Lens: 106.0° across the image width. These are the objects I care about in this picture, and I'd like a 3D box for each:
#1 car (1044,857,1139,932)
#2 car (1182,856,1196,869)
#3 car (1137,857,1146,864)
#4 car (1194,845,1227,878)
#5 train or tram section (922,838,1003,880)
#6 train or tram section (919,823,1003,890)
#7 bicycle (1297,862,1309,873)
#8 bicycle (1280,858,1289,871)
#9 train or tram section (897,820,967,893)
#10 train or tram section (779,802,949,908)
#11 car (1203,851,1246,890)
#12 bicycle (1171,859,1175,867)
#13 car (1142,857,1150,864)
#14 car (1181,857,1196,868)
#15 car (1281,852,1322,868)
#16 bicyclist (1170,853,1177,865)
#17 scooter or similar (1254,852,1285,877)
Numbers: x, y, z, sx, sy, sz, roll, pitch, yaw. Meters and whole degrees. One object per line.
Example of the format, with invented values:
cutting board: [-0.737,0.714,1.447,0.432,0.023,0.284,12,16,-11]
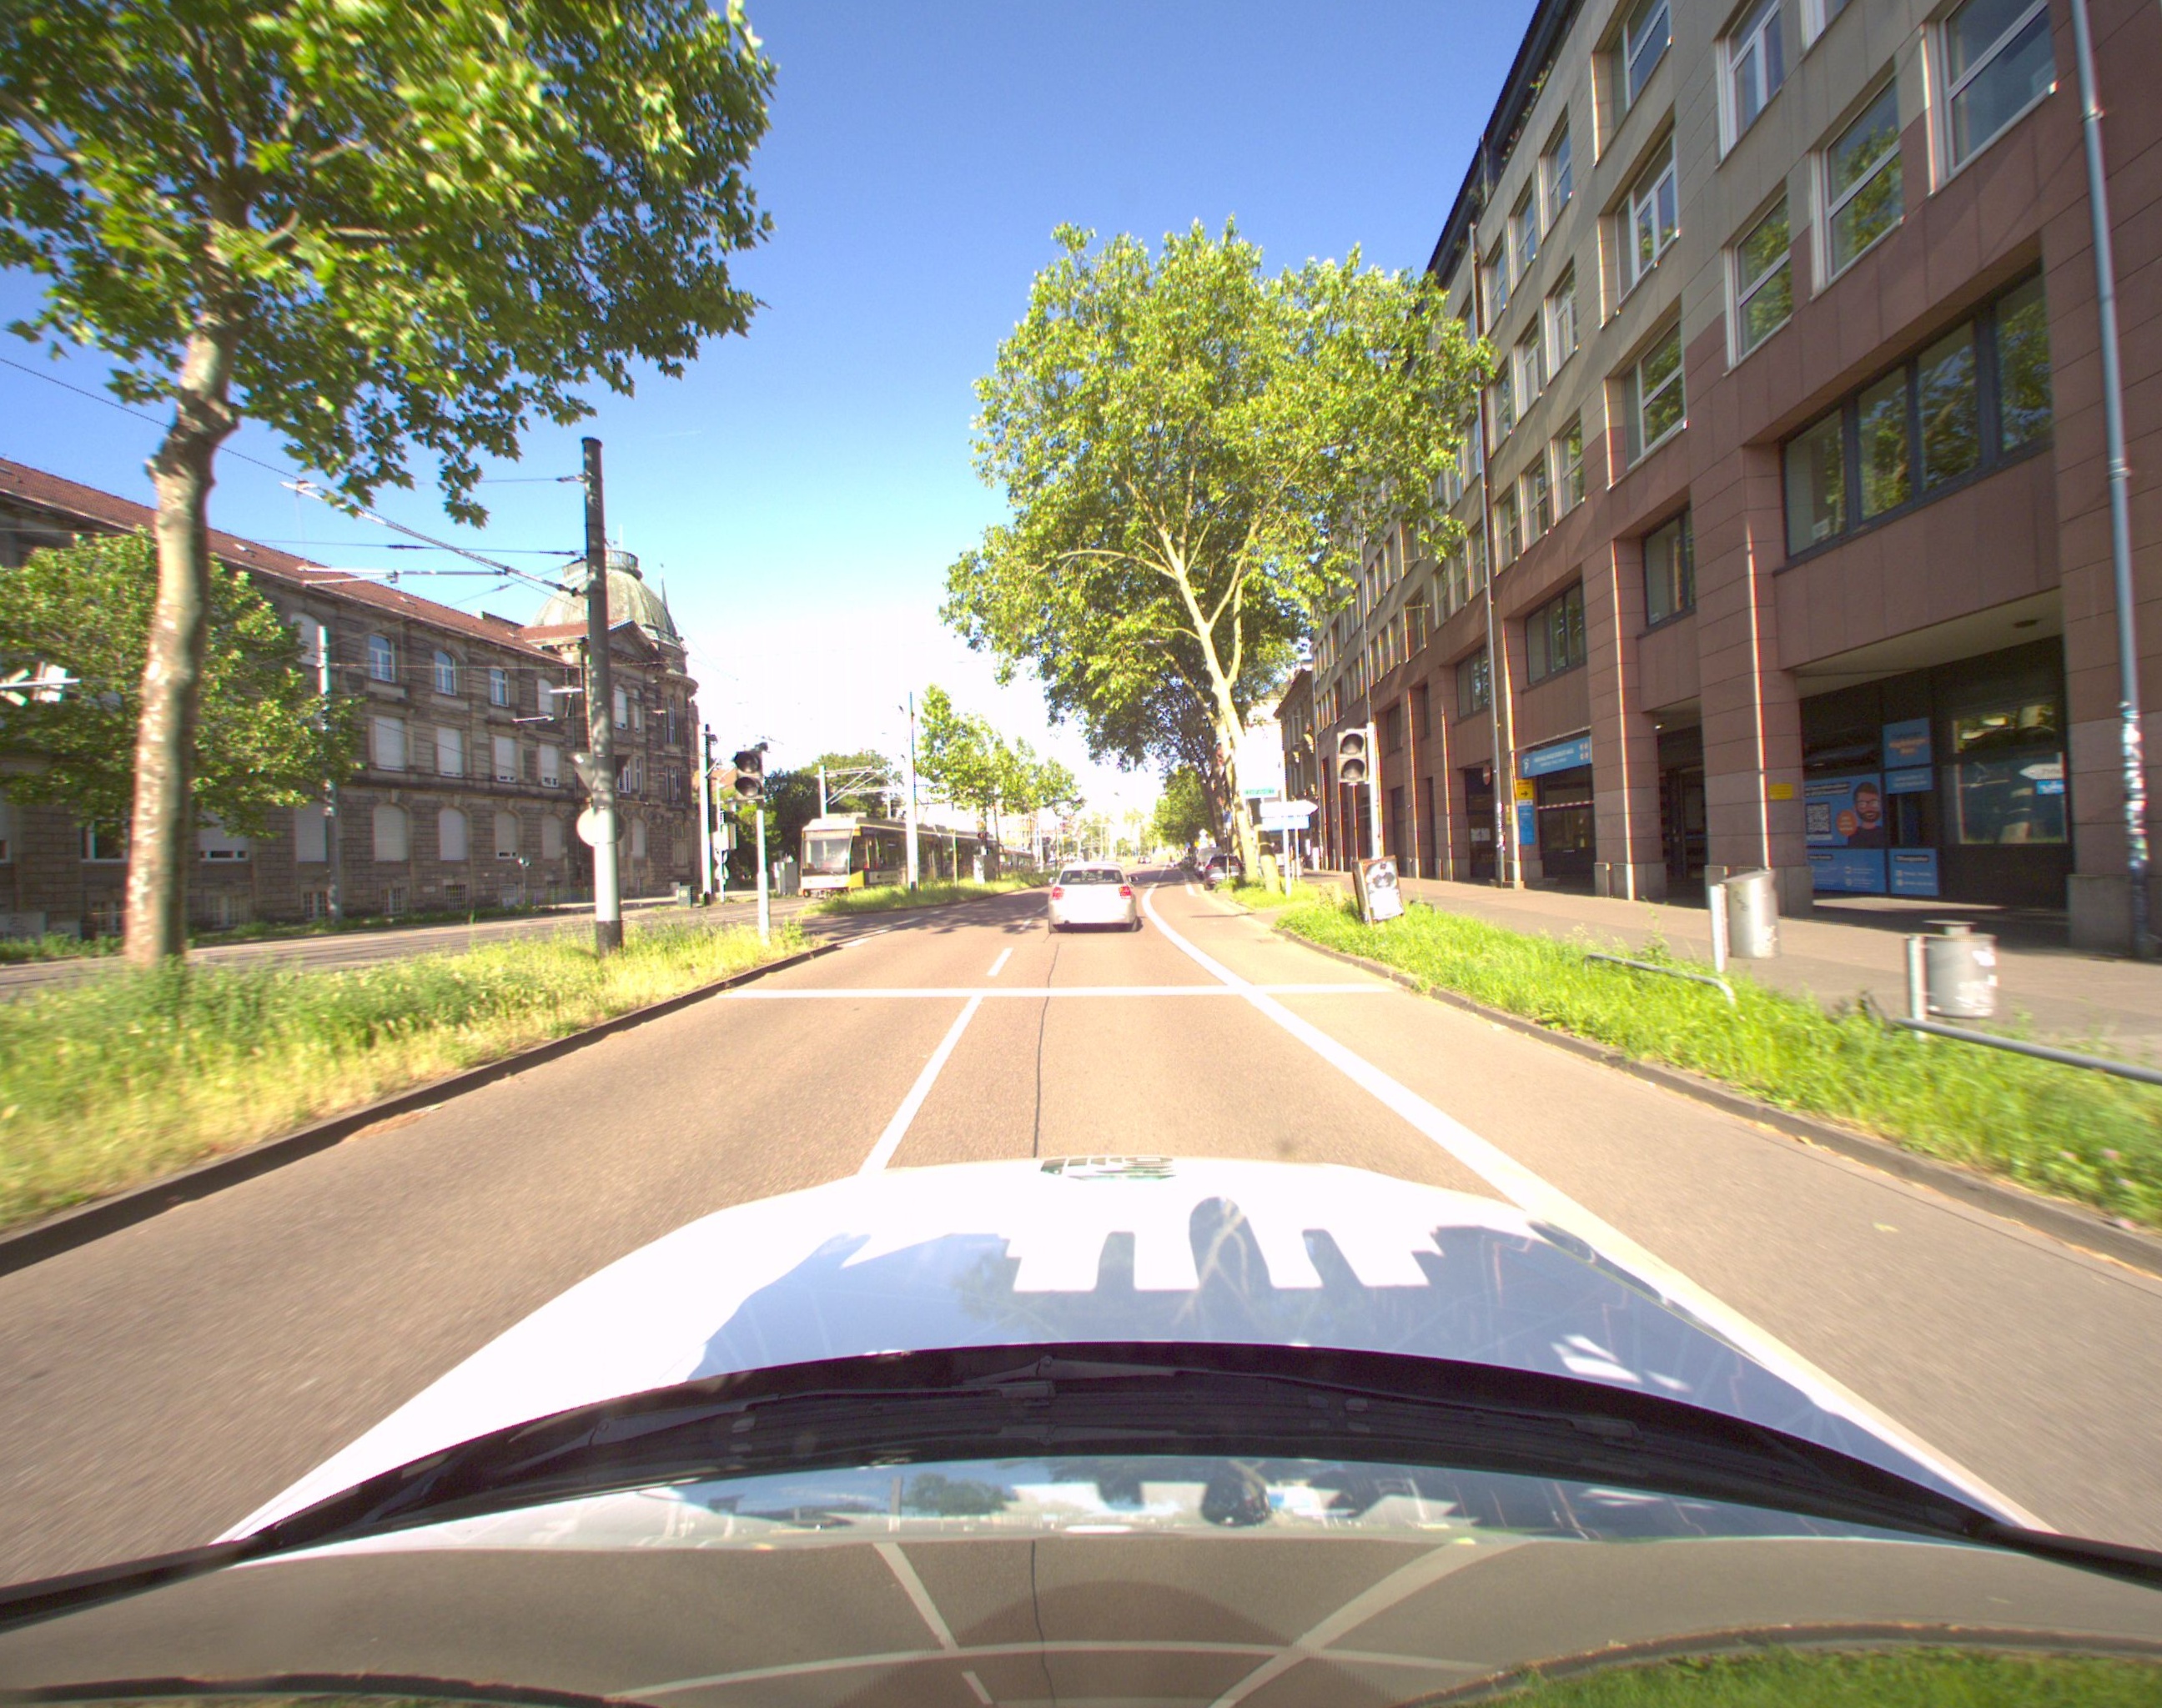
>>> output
car: [0.239,0.798,17.455,1.791,1.415,4.000,0,-1,1]
car: [14.577,1.142,110.442,1.686,1.502,3.808,-5,-1,6]
car: [12.433,1.361,166.763,1.719,1.470,4.415,-2,-1,4]
car: [8.243,0.508,51.971,1.846,2.014,4.732,0,-1,6]
train or tram section: [-10.811,0.479,77.851,2.950,3.484,21.244,-1,0,5]
train or tram section: [-7.557,0.234,53.034,2.938,3.897,10.817,0,-1,5]
bicycle: [16.275,0.982,59.836,0.546,0.773,1.665,-4,-1,6]
bicycle: [16.831,0.857,67.271,0.412,0.997,1.885,-2,-1,6]
train or tram section: [-8.272,0.145,45.680,2.941,3.897,3.871,0,-1,5]
train or tram section: [-9.020,0.119,36.609,2.916,3.812,14.287,0,-1,4]
car: [6.165,0.692,35.376,1.659,1.570,4.289,-1,-1,8]
bicycle: [11.801,1.135,103.960,0.496,1.088,2.000,0,-1,6]
car: [14.015,1.447,174.769,1.636,1.421,4.007,-1,-1,6]
car: [15.586,1.229,117.984,2.028,1.509,4.601,-2,-1,6]
car: [22.298,0.641,82.465,3.915,1.474,1.670,-1,-1,10]
bicyclist: [11.810,0.673,104.040,0.781,1.531,0.896,0,-1,6]
scooter or similar: [9.968,0.546,43.121,1.532,1.237,0.450,-3,-1,6]
